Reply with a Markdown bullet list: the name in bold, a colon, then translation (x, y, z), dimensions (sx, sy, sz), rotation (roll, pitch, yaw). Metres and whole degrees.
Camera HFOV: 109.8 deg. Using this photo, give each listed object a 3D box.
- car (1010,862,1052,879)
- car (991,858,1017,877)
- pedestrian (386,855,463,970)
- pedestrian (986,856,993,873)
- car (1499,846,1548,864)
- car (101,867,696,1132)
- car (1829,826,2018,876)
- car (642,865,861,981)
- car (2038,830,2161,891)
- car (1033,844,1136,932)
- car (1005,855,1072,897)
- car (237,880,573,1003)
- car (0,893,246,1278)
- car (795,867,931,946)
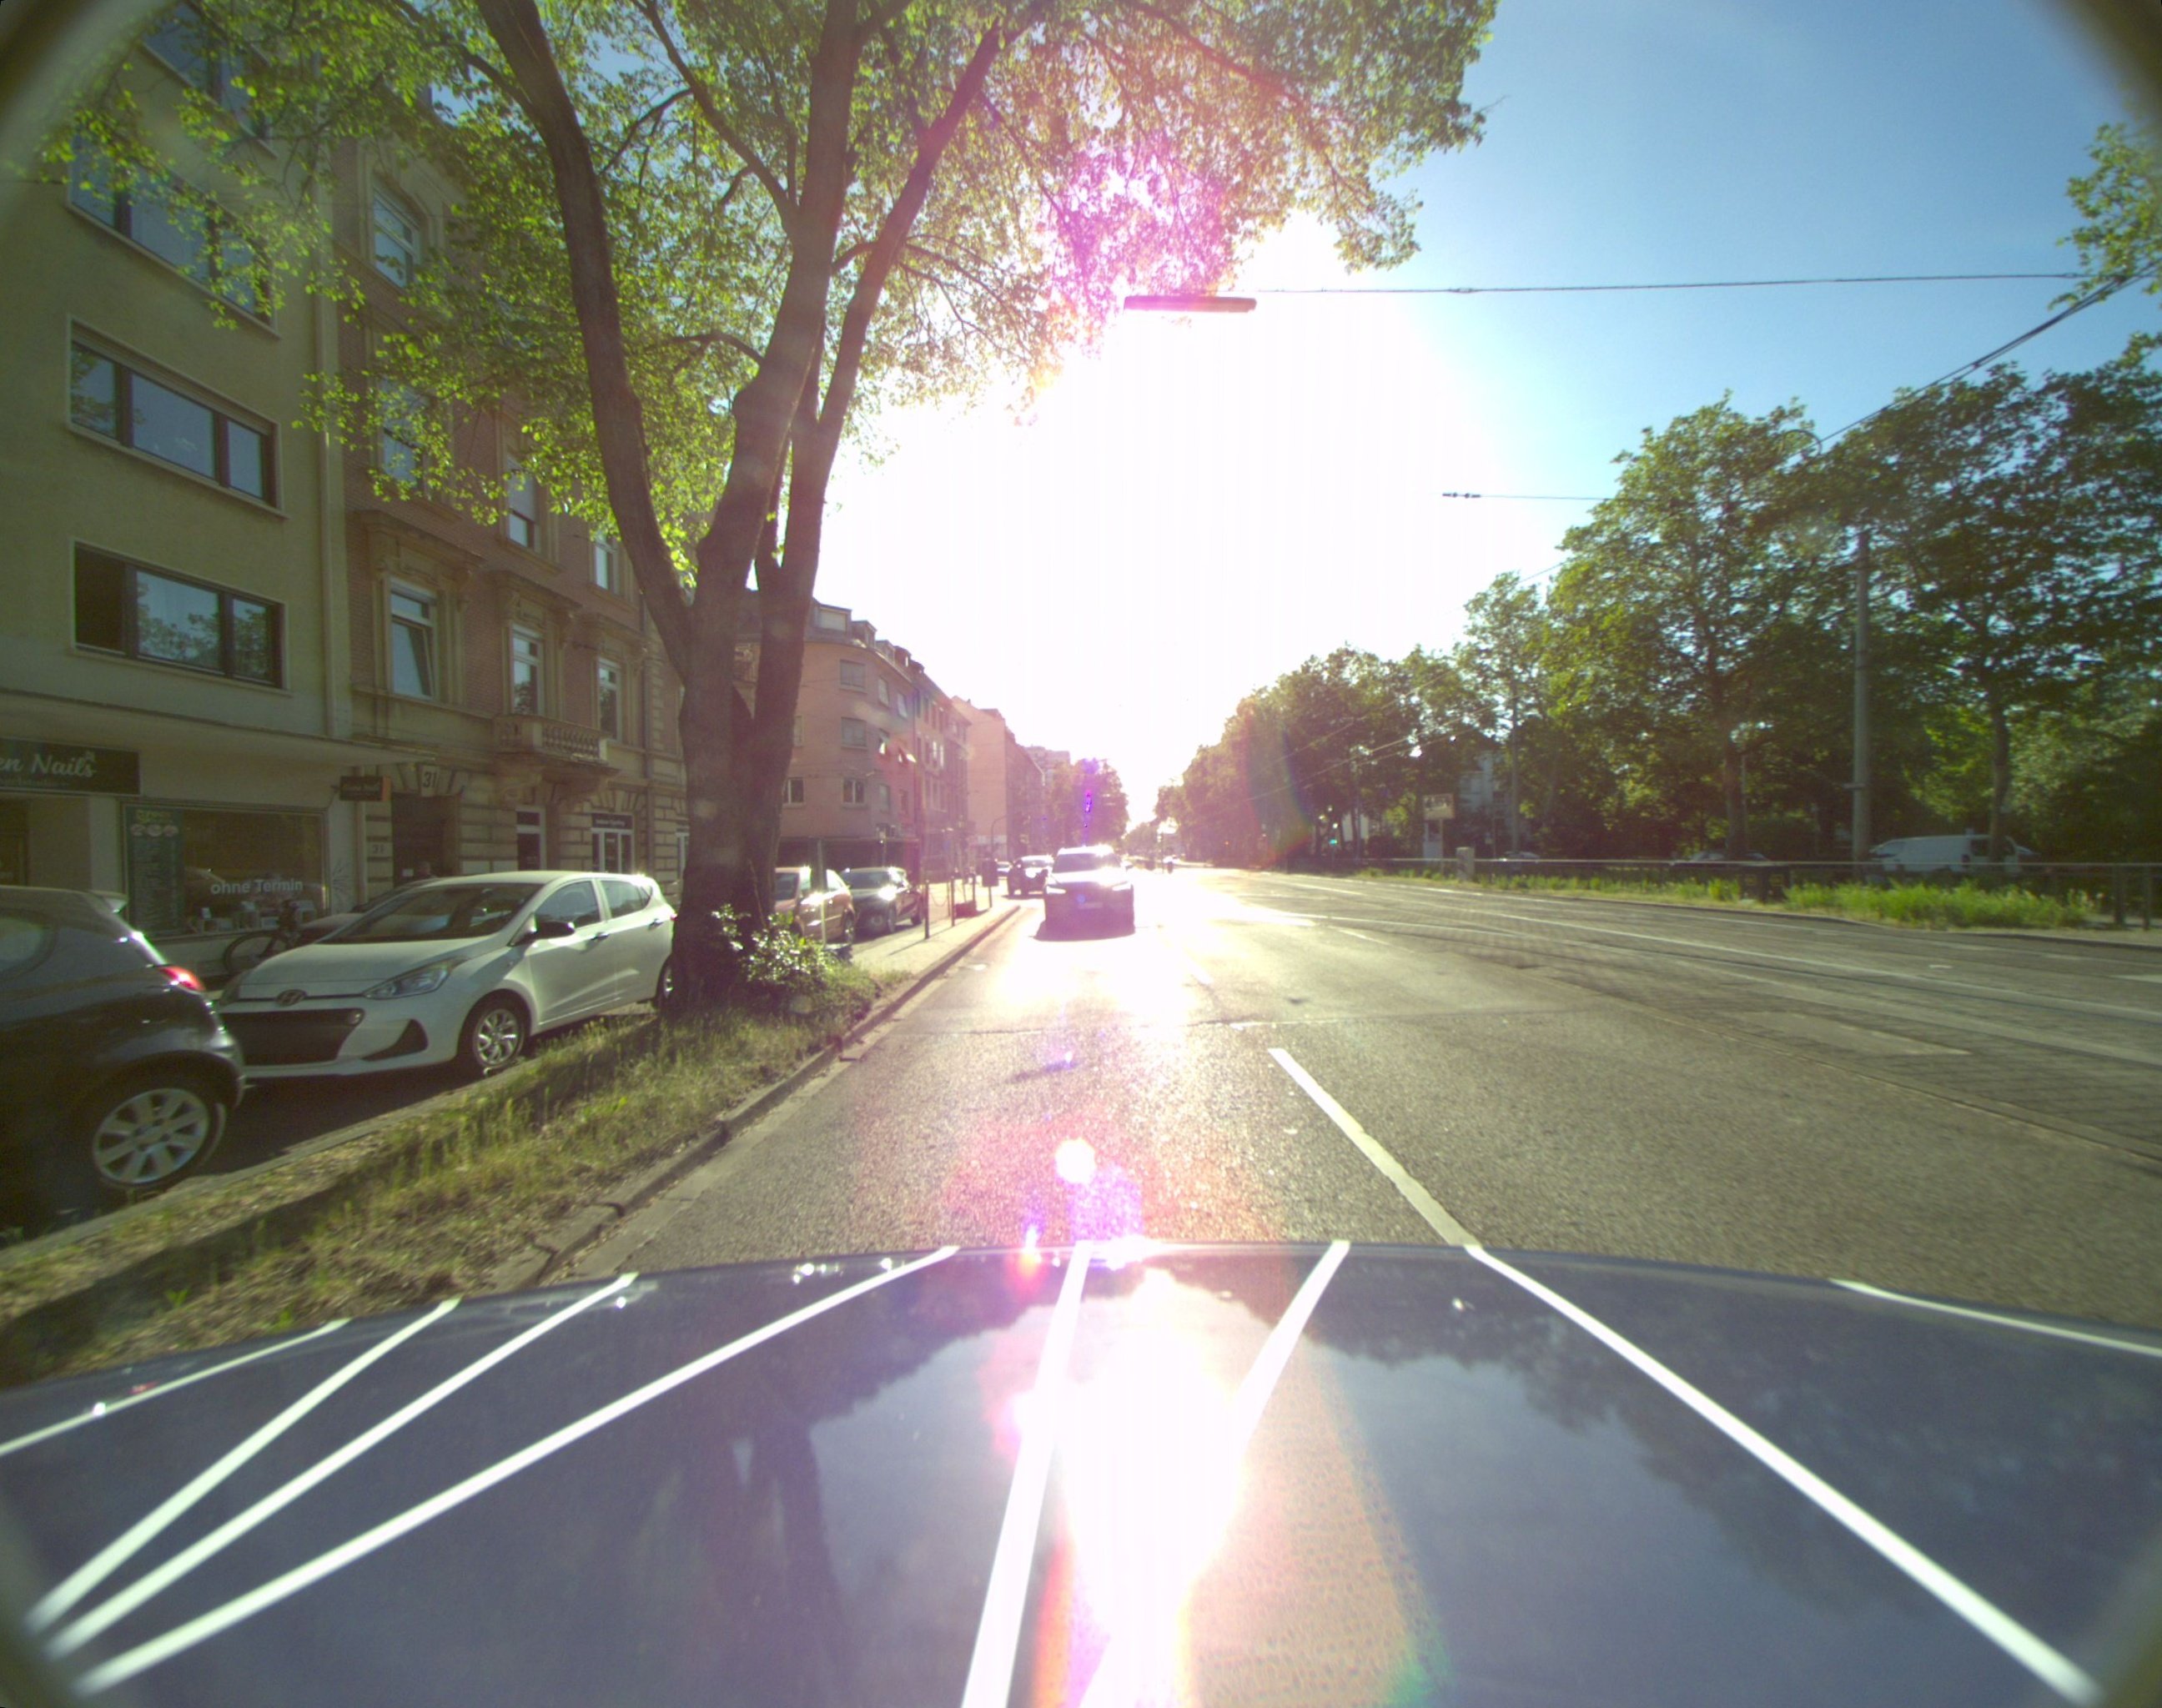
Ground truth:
- **car**: translation (-4.880, 1.602, 74.421), dimensions (1.812, 1.442, 4.007), rotation (-3, 0, 38)
- **car**: translation (-6.672, 1.154, 65.814), dimensions (1.739, 1.510, 4.000), rotation (0, 0, 2)
- **pedestrian**: translation (-11.984, 1.040, 13.893), dimensions (0.513, 2.002, 0.852), rotation (-3, 0, 6)
- **pedestrian**: translation (-9.219, 1.072, 76.527), dimensions (0.495, 1.752, 0.660), rotation (-1, 1, 2)
- **car**: translation (29.392, 0.057, 50.520), dimensions (1.503, 1.043, 3.129), rotation (-3, 0, 3)
- **car**: translation (-5.069, 0.915, 6.455), dimensions (1.630, 1.468, 3.697), rotation (-3, 0, 0)
- **car**: translation (28.615, -0.082, 26.048), dimensions (1.745, 1.462, 4.347), rotation (-3, 0, 3)
- **car**: translation (-4.979, 0.951, 12.120), dimensions (1.593, 1.426, 3.906), rotation (-3, 0, 2)
- **car**: translation (27.935, 0.151, 19.705), dimensions (1.595, 1.462, 3.823), rotation (-3, 0, 6)
- **car**: translation (0.123, 0.682, 17.211), dimensions (1.968, 1.664, 4.000), rotation (-3, 0, 2)
- **car**: translation (-1.773, 0.875, 30.418), dimensions (1.662, 1.473, 3.966), rotation (-3, 0, -18)
- **car**: translation (-10.141, 1.208, 11.892), dimensions (1.697, 1.471, 4.000), rotation (0, 0, 0)
- **car**: translation (-5.154, 0.980, 1.976), dimensions (1.565, 1.476, 3.788), rotation (-3, 0, 4)
- **car**: translation (-4.761, 1.086, 17.234), dimensions (1.700, 1.413, 4.170), rotation (-3, 0, 2)
